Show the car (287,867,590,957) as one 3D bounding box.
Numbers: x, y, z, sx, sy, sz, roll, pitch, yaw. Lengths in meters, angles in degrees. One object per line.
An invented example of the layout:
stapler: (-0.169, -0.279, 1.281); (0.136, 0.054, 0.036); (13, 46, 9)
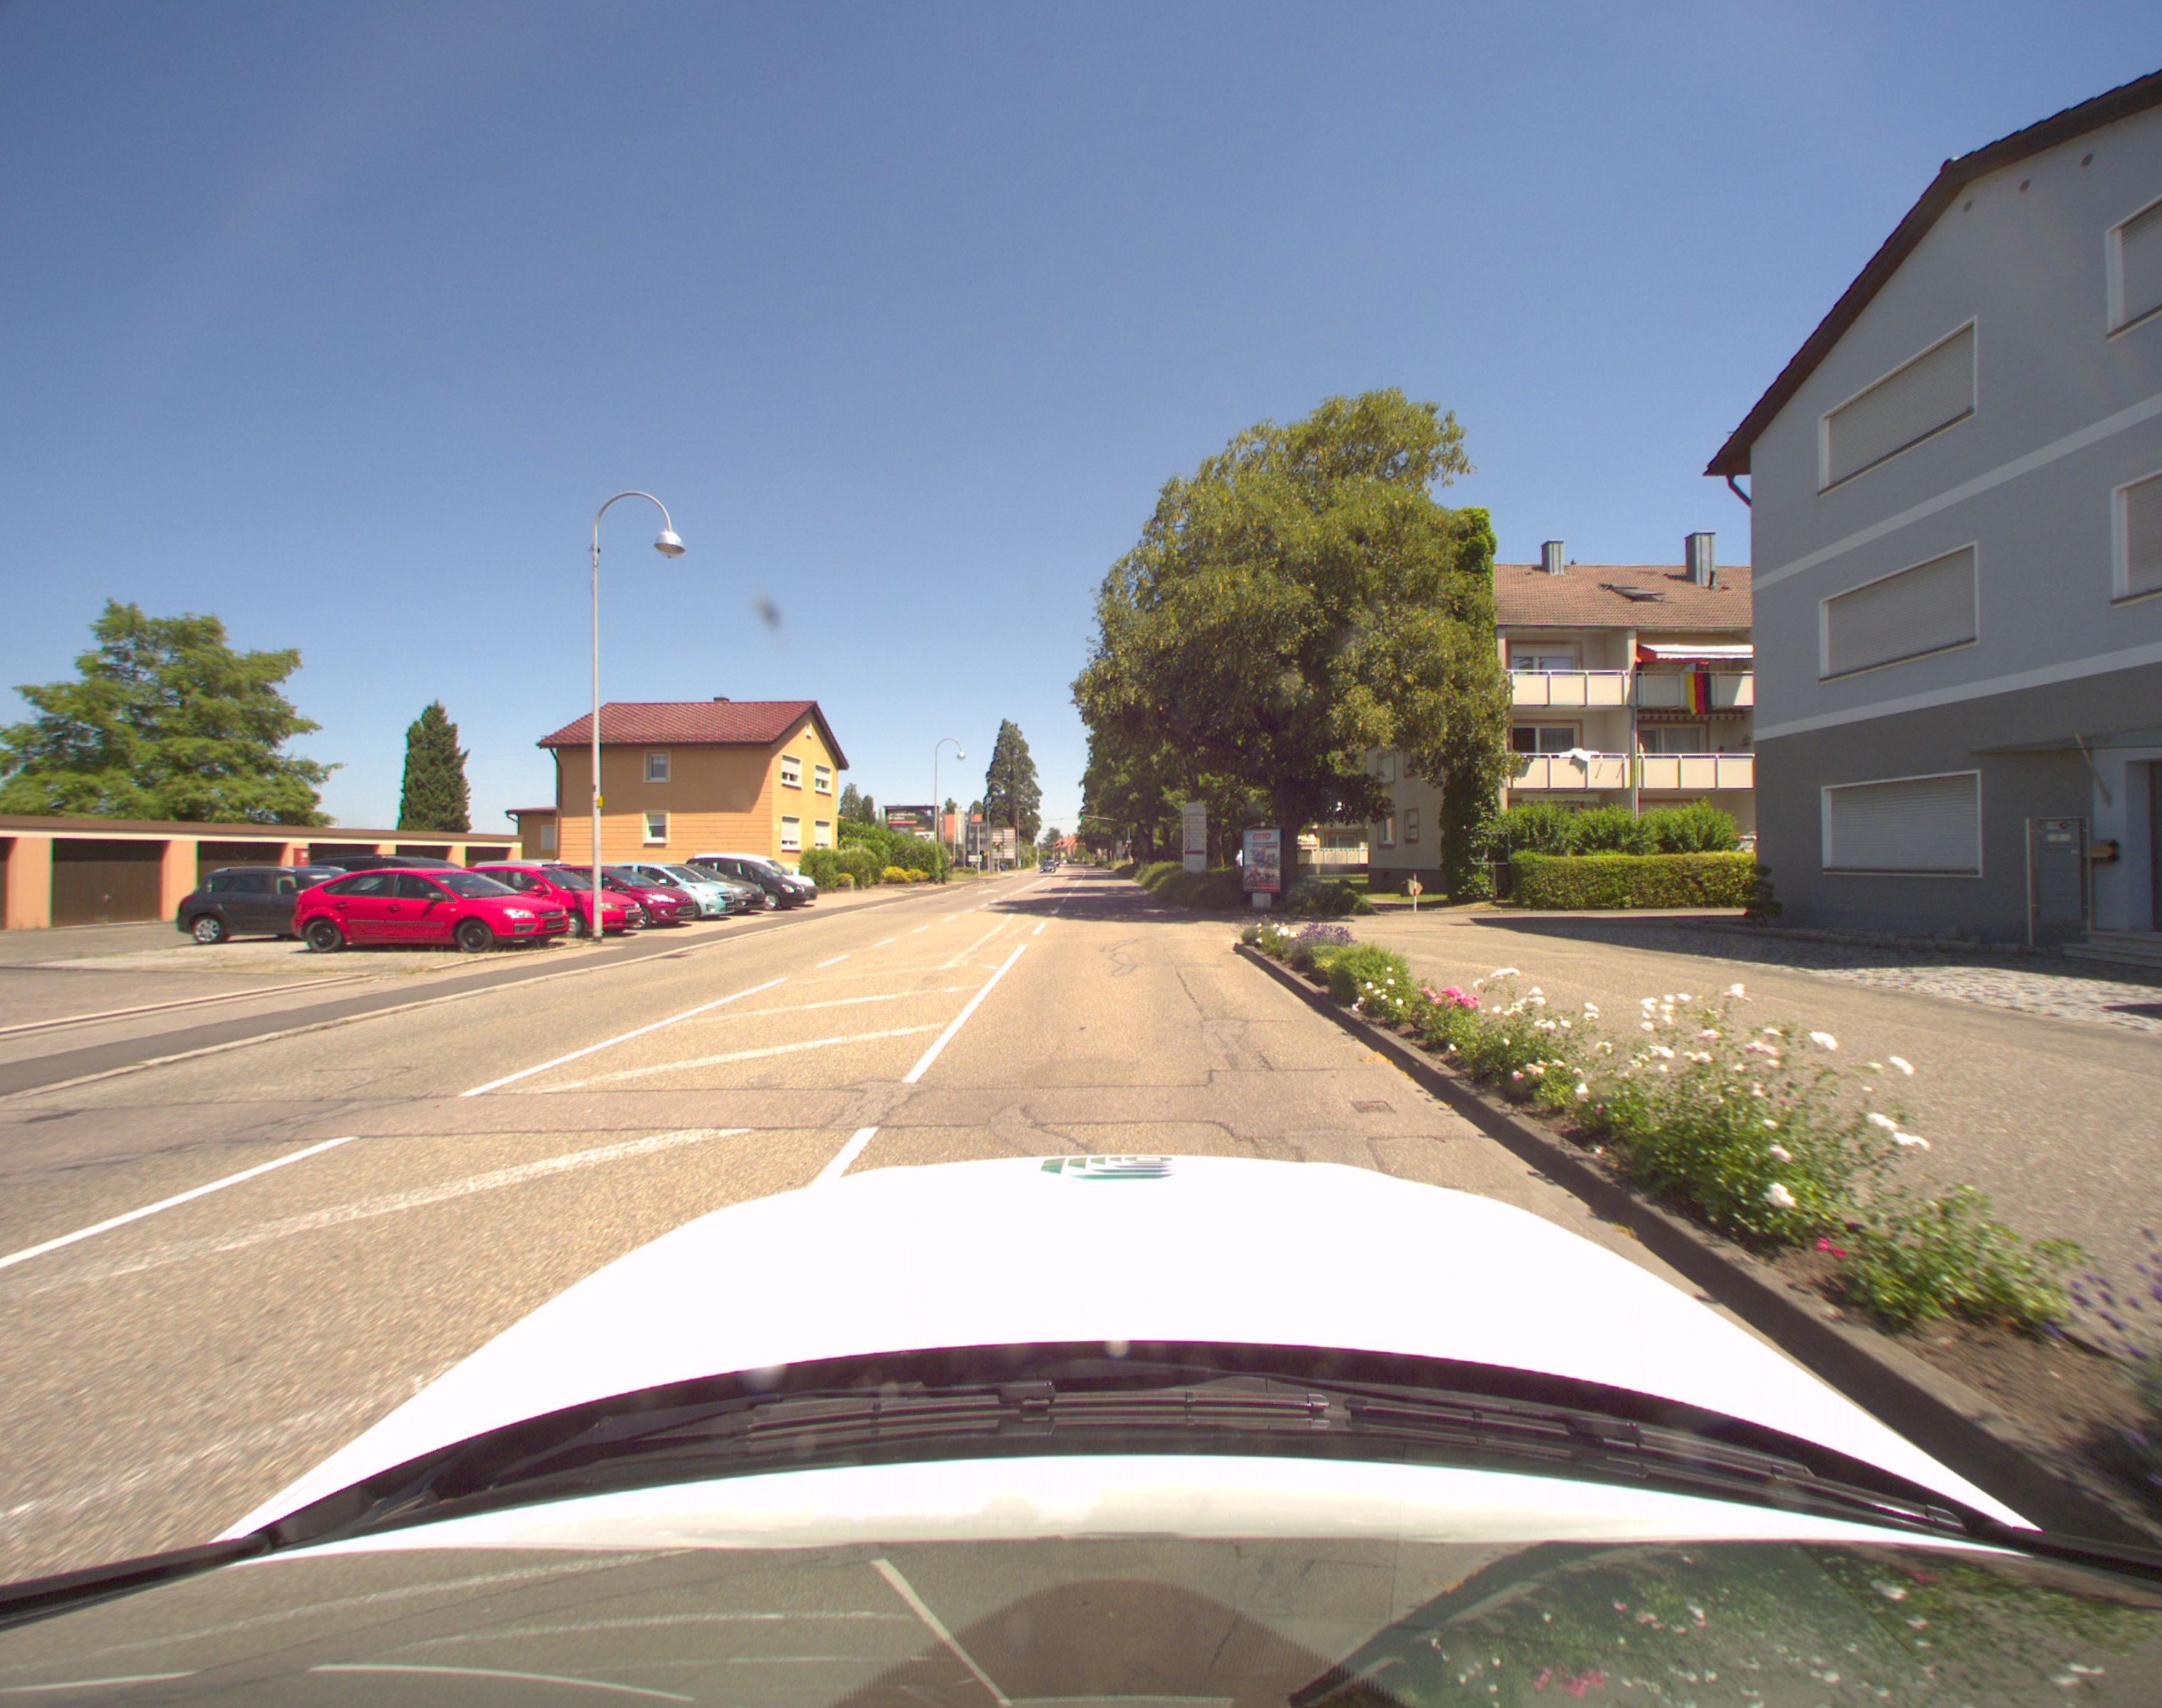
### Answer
car: (-11.723, 1.018, 15.067); (4.111, 1.444, 1.827); (-1, -1, 0)

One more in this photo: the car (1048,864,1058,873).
car: (-5.865, 3.003, 171.974); (1.872, 1.717, 4.311); (-2, 0, 1)

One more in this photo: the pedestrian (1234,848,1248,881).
pedestrian: (9.227, 0.601, 46.945); (0.700, 1.914, 0.661); (-2, -1, 4)

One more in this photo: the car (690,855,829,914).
car: (-11.217, 1.037, 28.668); (4.085, 1.898, 1.998); (-1, -1, -4)

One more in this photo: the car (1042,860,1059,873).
car: (-3.630, 1.474, 97.490); (1.704, 1.495, 4.278); (-1, 0, 1)

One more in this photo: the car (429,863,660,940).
car: (-11.410, 0.974, 17.517); (3.653, 1.457, 1.892); (-1, -1, -1)

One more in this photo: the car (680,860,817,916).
car: (-10.737, 1.082, 26.502); (3.653, 1.672, 1.921); (-1, -1, -1)

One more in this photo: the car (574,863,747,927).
car: (-11.349, 1.071, 22.189); (3.653, 1.581, 1.921); (-1, -1, -1)

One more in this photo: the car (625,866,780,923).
car: (-11.199, 1.166, 24.298); (3.653, 1.532, 1.921); (-1, -1, -1)

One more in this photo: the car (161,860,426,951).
car: (-16.422, 1.041, 17.141); (3.653, 1.709, 1.891); (-1, -1, -1)

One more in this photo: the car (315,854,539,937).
car: (-15.674, 0.956, 19.679); (3.837, 1.805, 1.858); (-1, -1, -1)

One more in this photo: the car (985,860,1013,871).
car: (-11.172, 1.584, 111.208); (3.476, 1.427, 1.602); (-1, 0, 2)

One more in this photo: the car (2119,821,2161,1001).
car: (11.266, 0.388, 6.338); (3.973, 1.550, 1.798); (-3, -1, 1)

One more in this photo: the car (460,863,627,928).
car: (-15.947, 1.192, 24.331); (3.653, 1.776, 1.921); (-1, -1, -1)

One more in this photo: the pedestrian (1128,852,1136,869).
pedestrian: (5.259, 0.646, 83.332); (0.608, 1.751, 0.565); (-2, -1, 22)

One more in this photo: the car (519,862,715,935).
car: (-11.261, 1.054, 19.964); (3.653, 1.605, 1.881); (-1, -1, -1)
